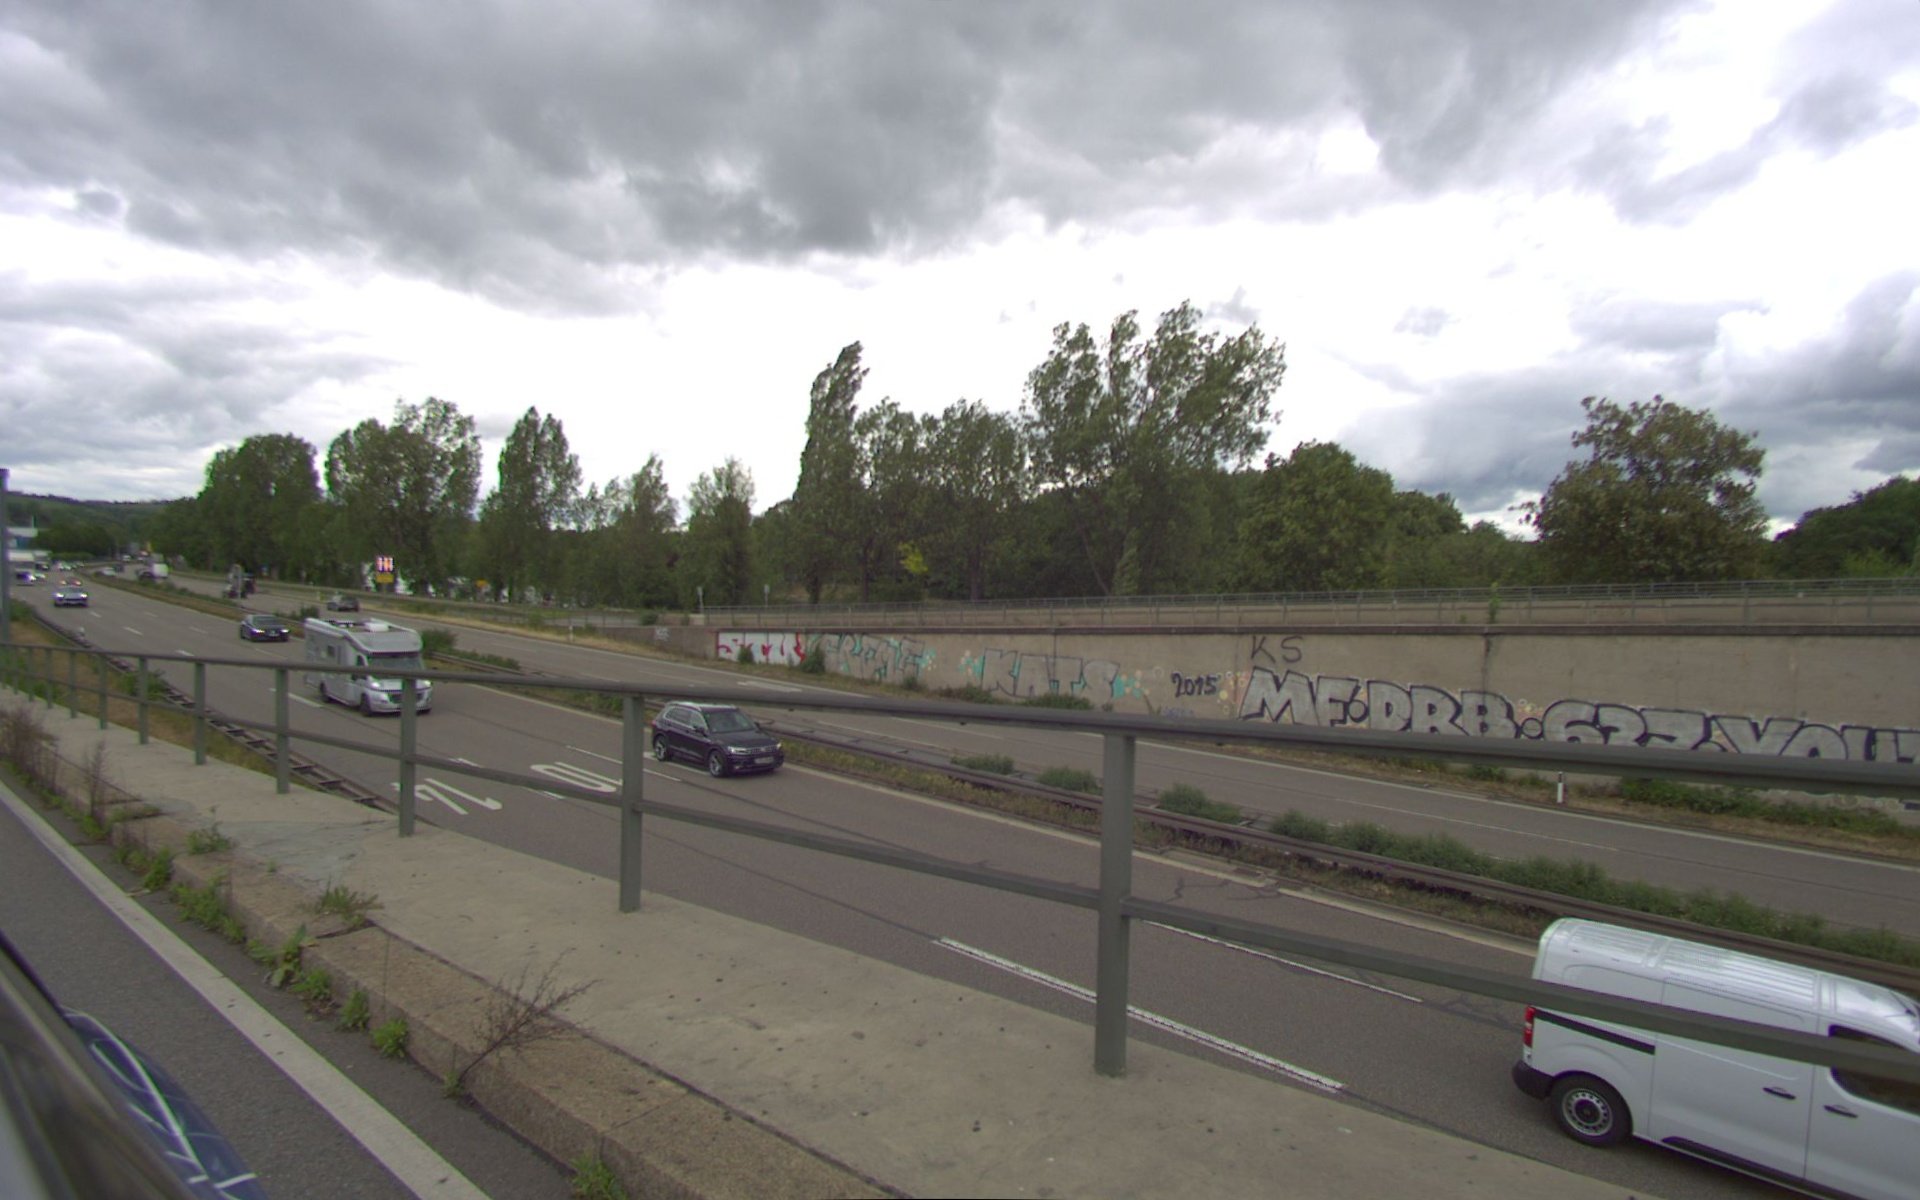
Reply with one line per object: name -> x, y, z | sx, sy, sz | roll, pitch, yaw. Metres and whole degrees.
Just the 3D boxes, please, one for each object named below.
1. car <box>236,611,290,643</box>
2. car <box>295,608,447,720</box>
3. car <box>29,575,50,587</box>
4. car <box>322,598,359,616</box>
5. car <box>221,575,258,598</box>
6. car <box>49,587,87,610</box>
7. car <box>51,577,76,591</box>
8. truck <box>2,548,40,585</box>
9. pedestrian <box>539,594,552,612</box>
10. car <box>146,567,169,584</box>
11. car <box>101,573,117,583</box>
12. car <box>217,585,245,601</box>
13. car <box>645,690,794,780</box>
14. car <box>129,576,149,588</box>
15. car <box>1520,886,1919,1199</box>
car -> -40.754, 1.548, 59.144 | 4.219, 1.581, 1.731 | 3, 2, 42
car -> -21.069, 2.119, 35.967 | 7.660, 3.264, 2.336 | 3, 0, 42
car -> -130.257, -2.704, 143.132 | 4.278, 1.429, 1.894 | 4, 3, 43
car -> -55.389, 0.636, 90.417 | 4.110, 1.386, 1.693 | 3, 1, 42
car -> -86.544, -1.656, 121.513 | 6.112, 2.566, 2.220 | 3, 2, 41
car -> -71.582, -0.123, 81.183 | 4.279, 1.813, 1.821 | -1, 0, 42
car -> -104.213, -1.881, 117.635 | 4.166, 1.451, 1.733 | 5, 3, 43
truck -> -113.938, -4.047, 122.749 | 6.697, 4.283, 2.722 | 3, 1, 42
pedestrian -> -39.864, 0.276, 97.293 | 1.078, 1.717, 0.821 | 3, 3, 42
car -> -141.407, -4.282, 178.344 | 5.361, 2.800, 2.186 | 4, 1, 42
car -> -149.714, -3.910, 178.045 | 3.931, 1.662, 1.738 | 4, 3, 42
car -> -76.872, -0.712, 106.693 | 3.858, 1.512, 1.646 | 4, 1, 42
car -> -6.585, 3.563, 27.448 | 4.280, 1.726, 1.820 | 3, 2, 43
car -> -130.795, -2.890, 161.193 | 4.333, 1.662, 1.878 | 3, 1, 42
car -> 8.281, 4.458, 9.530 | 4.896, 1.949, 1.929 | 4, 3, 42
